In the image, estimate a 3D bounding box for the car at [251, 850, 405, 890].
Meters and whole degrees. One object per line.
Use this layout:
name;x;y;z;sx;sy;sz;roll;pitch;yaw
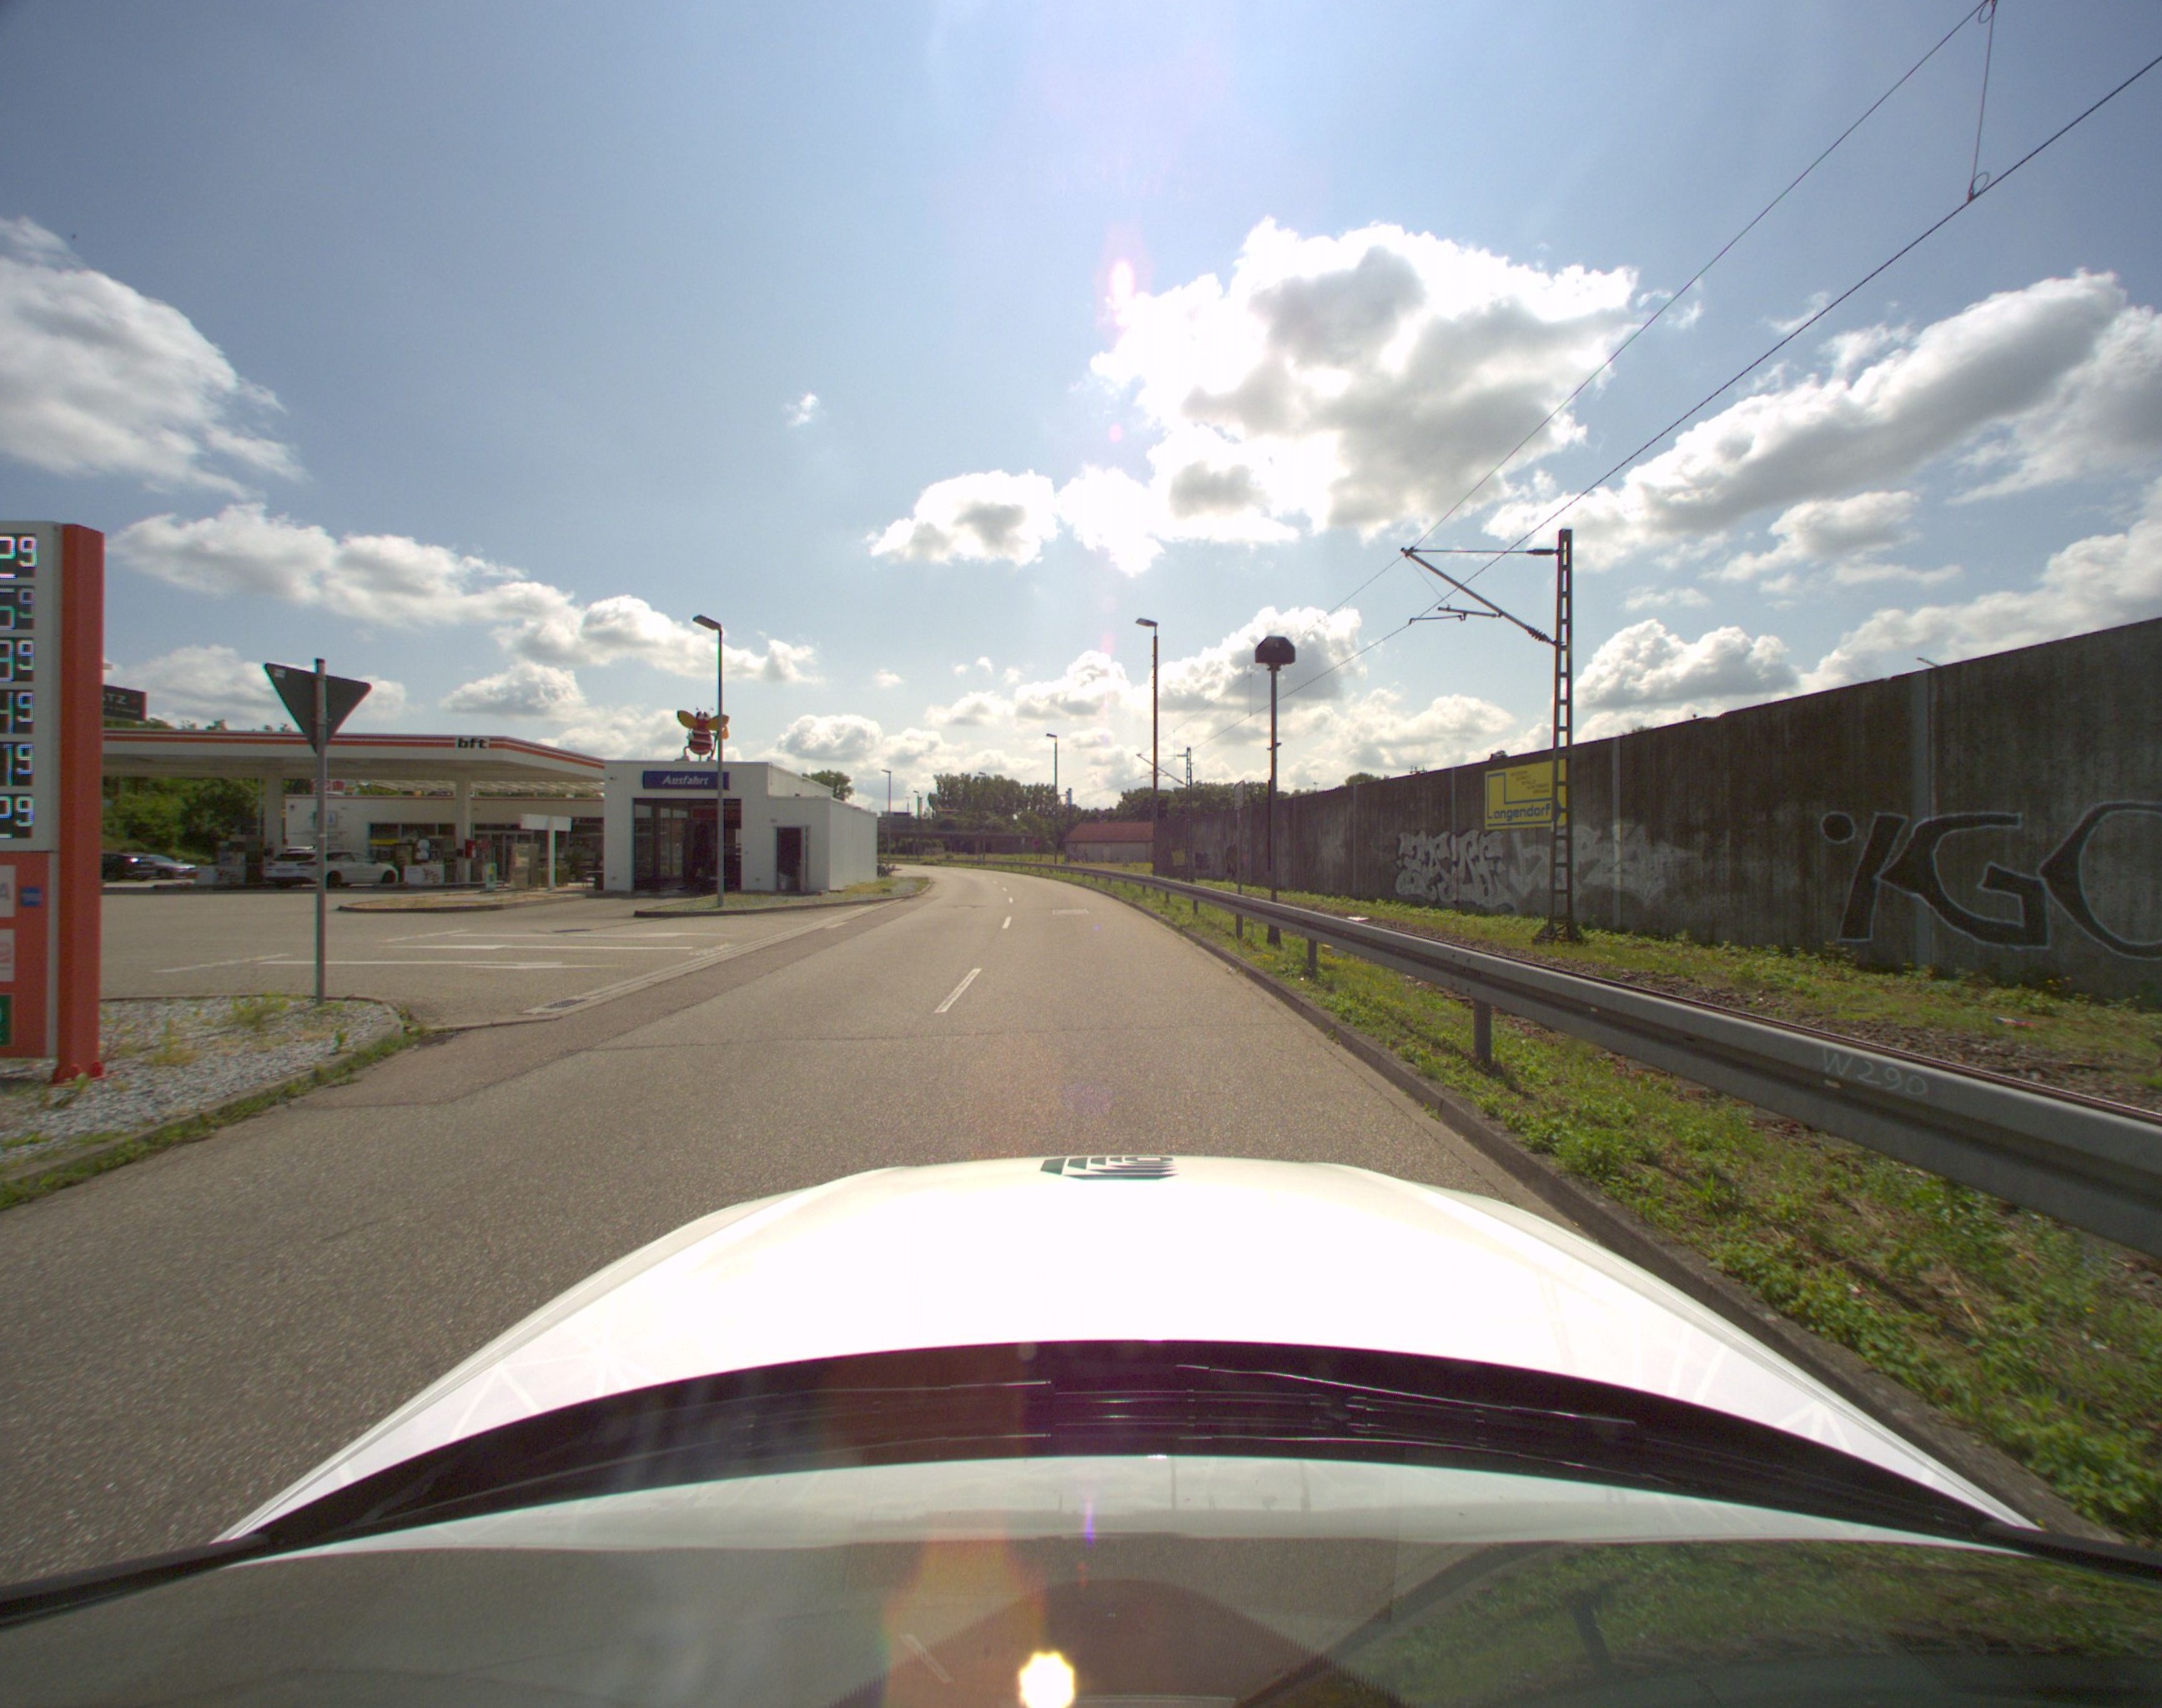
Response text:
car;-29.076;0.586;31.701;1.888;1.431;4.580;-1;0;-3

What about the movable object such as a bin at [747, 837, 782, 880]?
movable object such as a bin;-16.548;0.270;42.648;1.061;2.153;2.697;0;-2;-7

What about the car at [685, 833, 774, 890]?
car;-13.962;0.289;32.658;1.992;2.109;4.996;-1;0;-8

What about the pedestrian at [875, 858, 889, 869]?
pedestrian;-13.983;0.690;57.175;0.862;0.760;0.815;0;-2;-9

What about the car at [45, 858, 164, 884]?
car;-56.132;0.960;46.883;3.988;1.394;1.993;-1;0;-11
